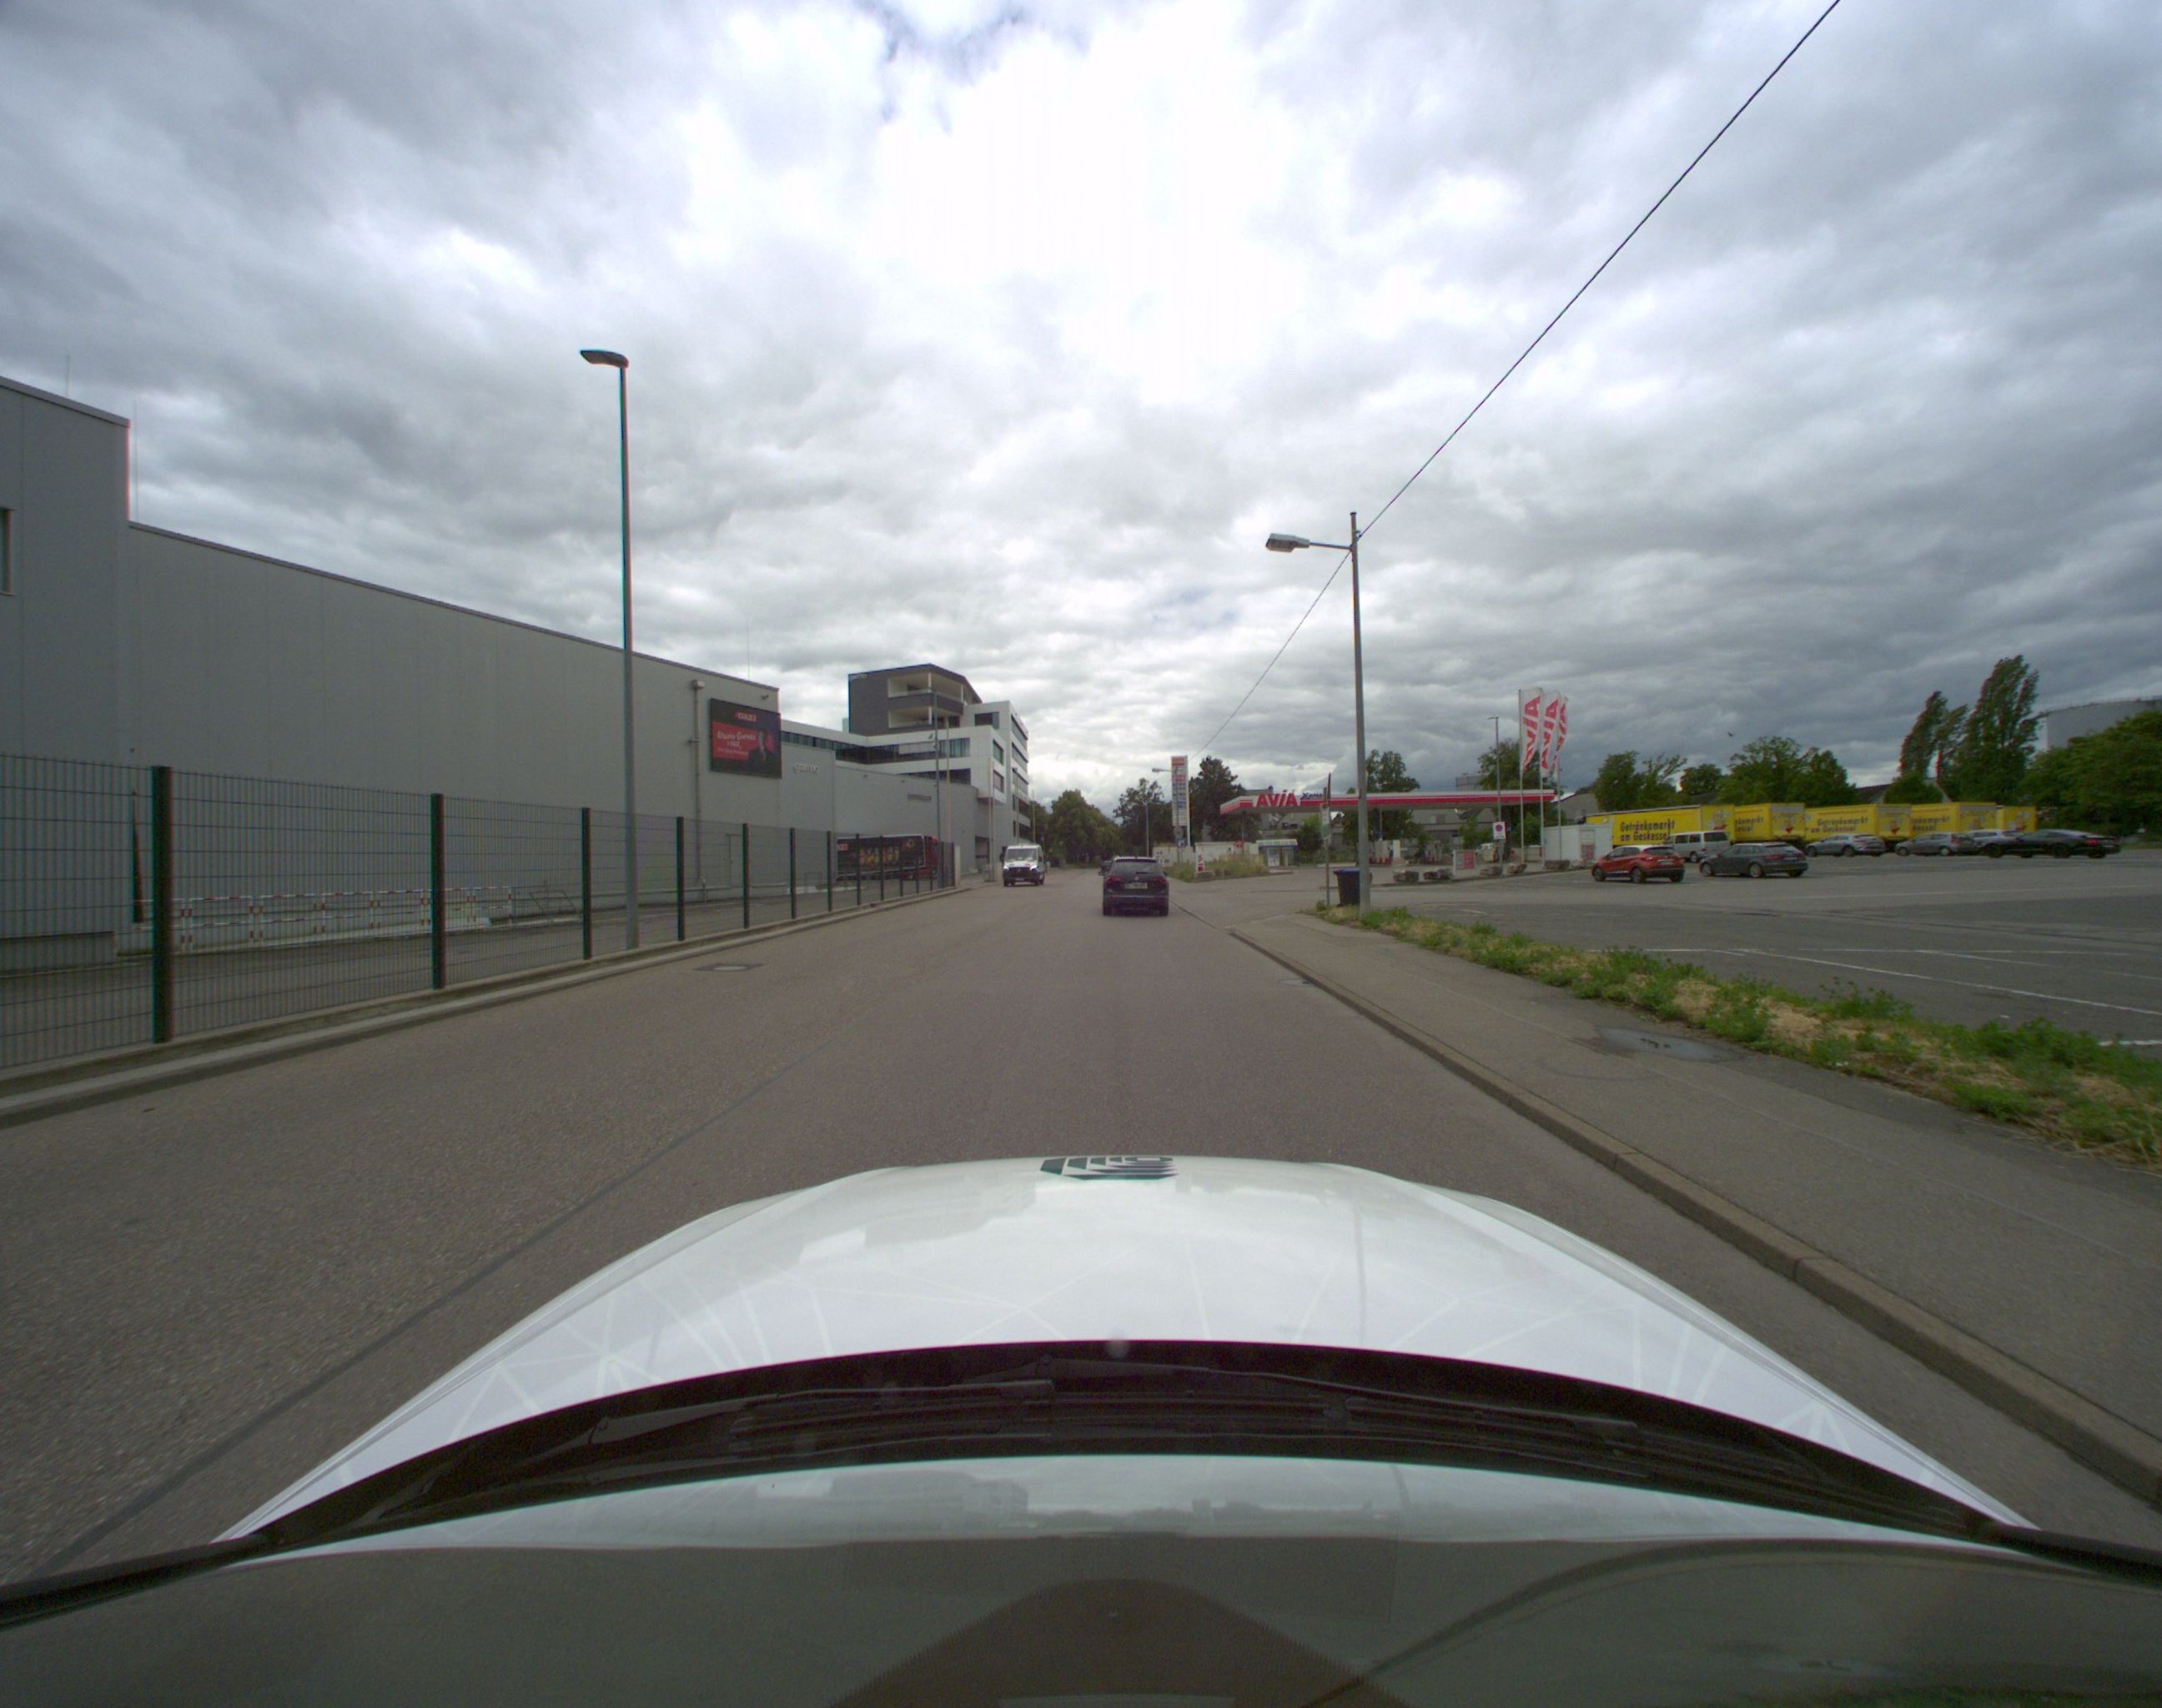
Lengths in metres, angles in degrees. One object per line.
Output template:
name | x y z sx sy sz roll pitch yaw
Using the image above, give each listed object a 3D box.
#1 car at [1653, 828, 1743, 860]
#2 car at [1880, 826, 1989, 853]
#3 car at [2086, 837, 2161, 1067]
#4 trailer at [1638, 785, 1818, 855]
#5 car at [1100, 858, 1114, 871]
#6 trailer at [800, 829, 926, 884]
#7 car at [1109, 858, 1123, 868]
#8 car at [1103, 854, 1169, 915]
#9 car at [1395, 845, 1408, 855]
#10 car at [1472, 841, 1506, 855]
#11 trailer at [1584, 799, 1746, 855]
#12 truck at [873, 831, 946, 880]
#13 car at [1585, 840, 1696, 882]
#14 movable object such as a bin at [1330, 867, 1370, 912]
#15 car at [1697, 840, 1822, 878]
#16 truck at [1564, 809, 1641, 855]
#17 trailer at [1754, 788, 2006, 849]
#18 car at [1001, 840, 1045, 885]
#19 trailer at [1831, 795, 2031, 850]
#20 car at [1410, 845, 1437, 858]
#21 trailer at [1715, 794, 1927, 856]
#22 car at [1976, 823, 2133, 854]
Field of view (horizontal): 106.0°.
car | 38.859 -0.595 51.487 1.976 1.912 4.952 -1 0 1
car | 53.890 -0.864 51.567 1.976 1.601 4.690 -1 0 1
car | 7.689 0.603 3.259 1.767 1.464 4.562 -1 0 2
trailer | 50.750 -2.407 64.864 2.989 4.723 14.302 -2 0 1
car | 3.318 1.346 103.787 1.832 1.616 4.002 -1 0 2
trailer | -17.241 0.146 65.906 2.718 4.031 12.685 -1 0 22
car | 6.591 1.705 153.733 1.981 1.786 4.011 0 -1 10
car | 1.577 0.823 23.359 1.731 1.618 3.645 0 -1 4
car | 49.292 -0.610 125.307 1.888 1.521 4.085 -2 0 21
car | 50.771 -0.753 101.479 1.955 1.645 4.654 -2 -1 1
trailer | 46.896 -1.948 66.354 2.989 3.915 14.302 -2 0 1
truck | -14.930 0.128 71.560 2.718 4.031 7.131 -1 0 22
car | 23.385 0.296 34.229 1.758 1.571 4.216 -3 0 1
movable object such as a bin | 6.741 0.879 20.428 0.713 1.081 0.661 -1 0 -5
car | 28.242 0.203 34.095 1.759 1.391 4.216 -3 0 1
truck | 46.982 -1.895 73.577 2.946 3.915 6.041 -2 -1 1
trailer | 62.929 -2.493 65.567 2.681 3.915 18.072 -2 0 1
car | -3.264 0.467 46.922 1.986 2.416 5.258 0 0 1
trailer | 70.912 -2.431 68.751 2.681 3.915 13.689 -2 0 1
car | 42.494 -0.318 101.129 1.725 1.530 3.886 -2 0 2
trailer | 59.325 -2.057 66.436 3.010 4.260 15.725 -2 0 1
car | 46.422 -0.690 39.028 1.976 1.369 4.685 -1 0 1
